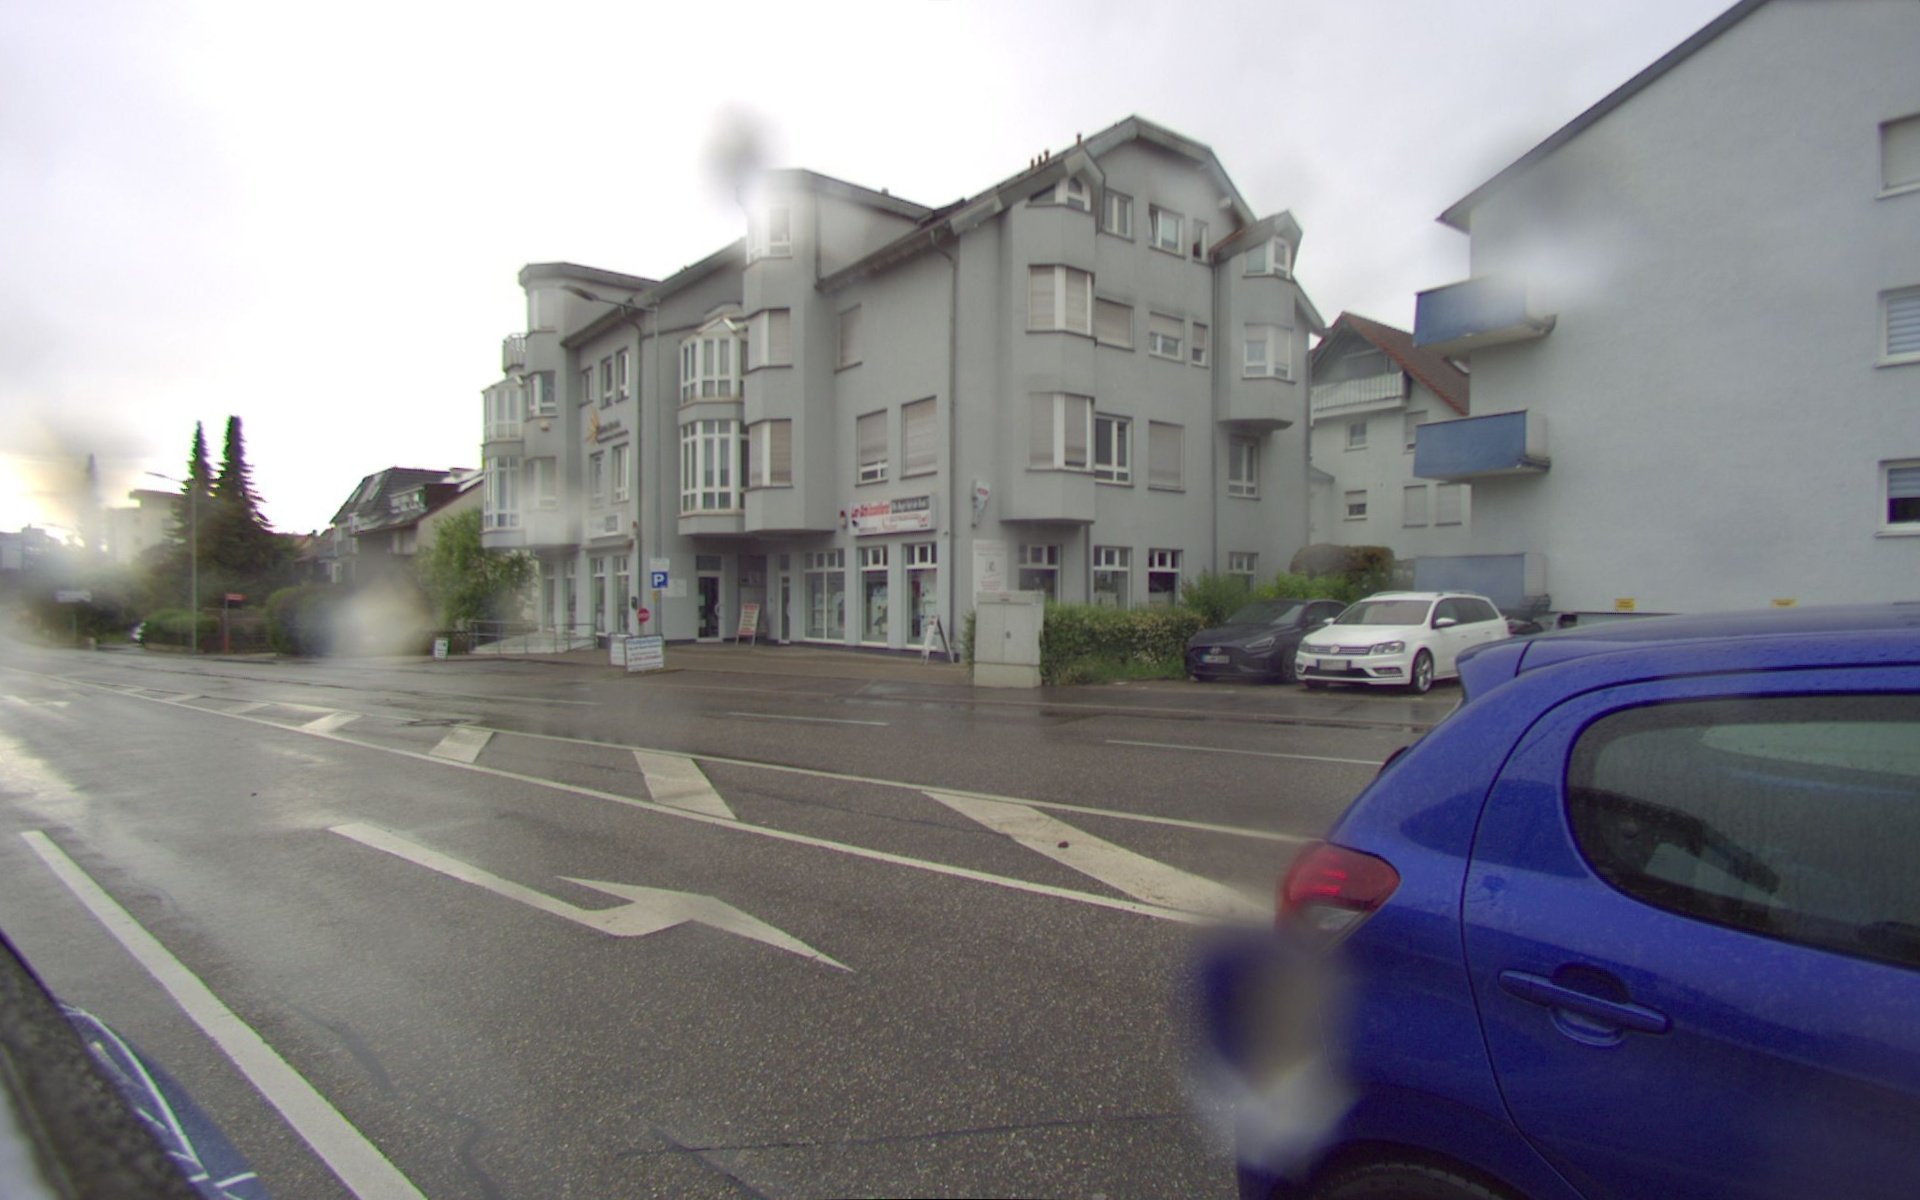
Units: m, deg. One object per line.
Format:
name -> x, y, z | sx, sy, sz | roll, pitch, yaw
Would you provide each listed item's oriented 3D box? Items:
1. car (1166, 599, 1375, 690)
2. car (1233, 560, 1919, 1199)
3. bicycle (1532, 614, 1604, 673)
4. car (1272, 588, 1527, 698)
car -> 5.490, 0.690, 17.654 | 1.851, 1.366, 3.941 | -1, 0, 45
car -> 2.234, 0.635, 1.200 | 3.362, 1.423, 1.489 | -2, -1, 41
bicycle -> 11.140, 0.793, 18.566 | 1.065, 1.061, 0.343 | -2, -1, 41
car -> 6.979, 0.604, 15.809 | 4.685, 1.471, 1.883 | 0, -2, -42
